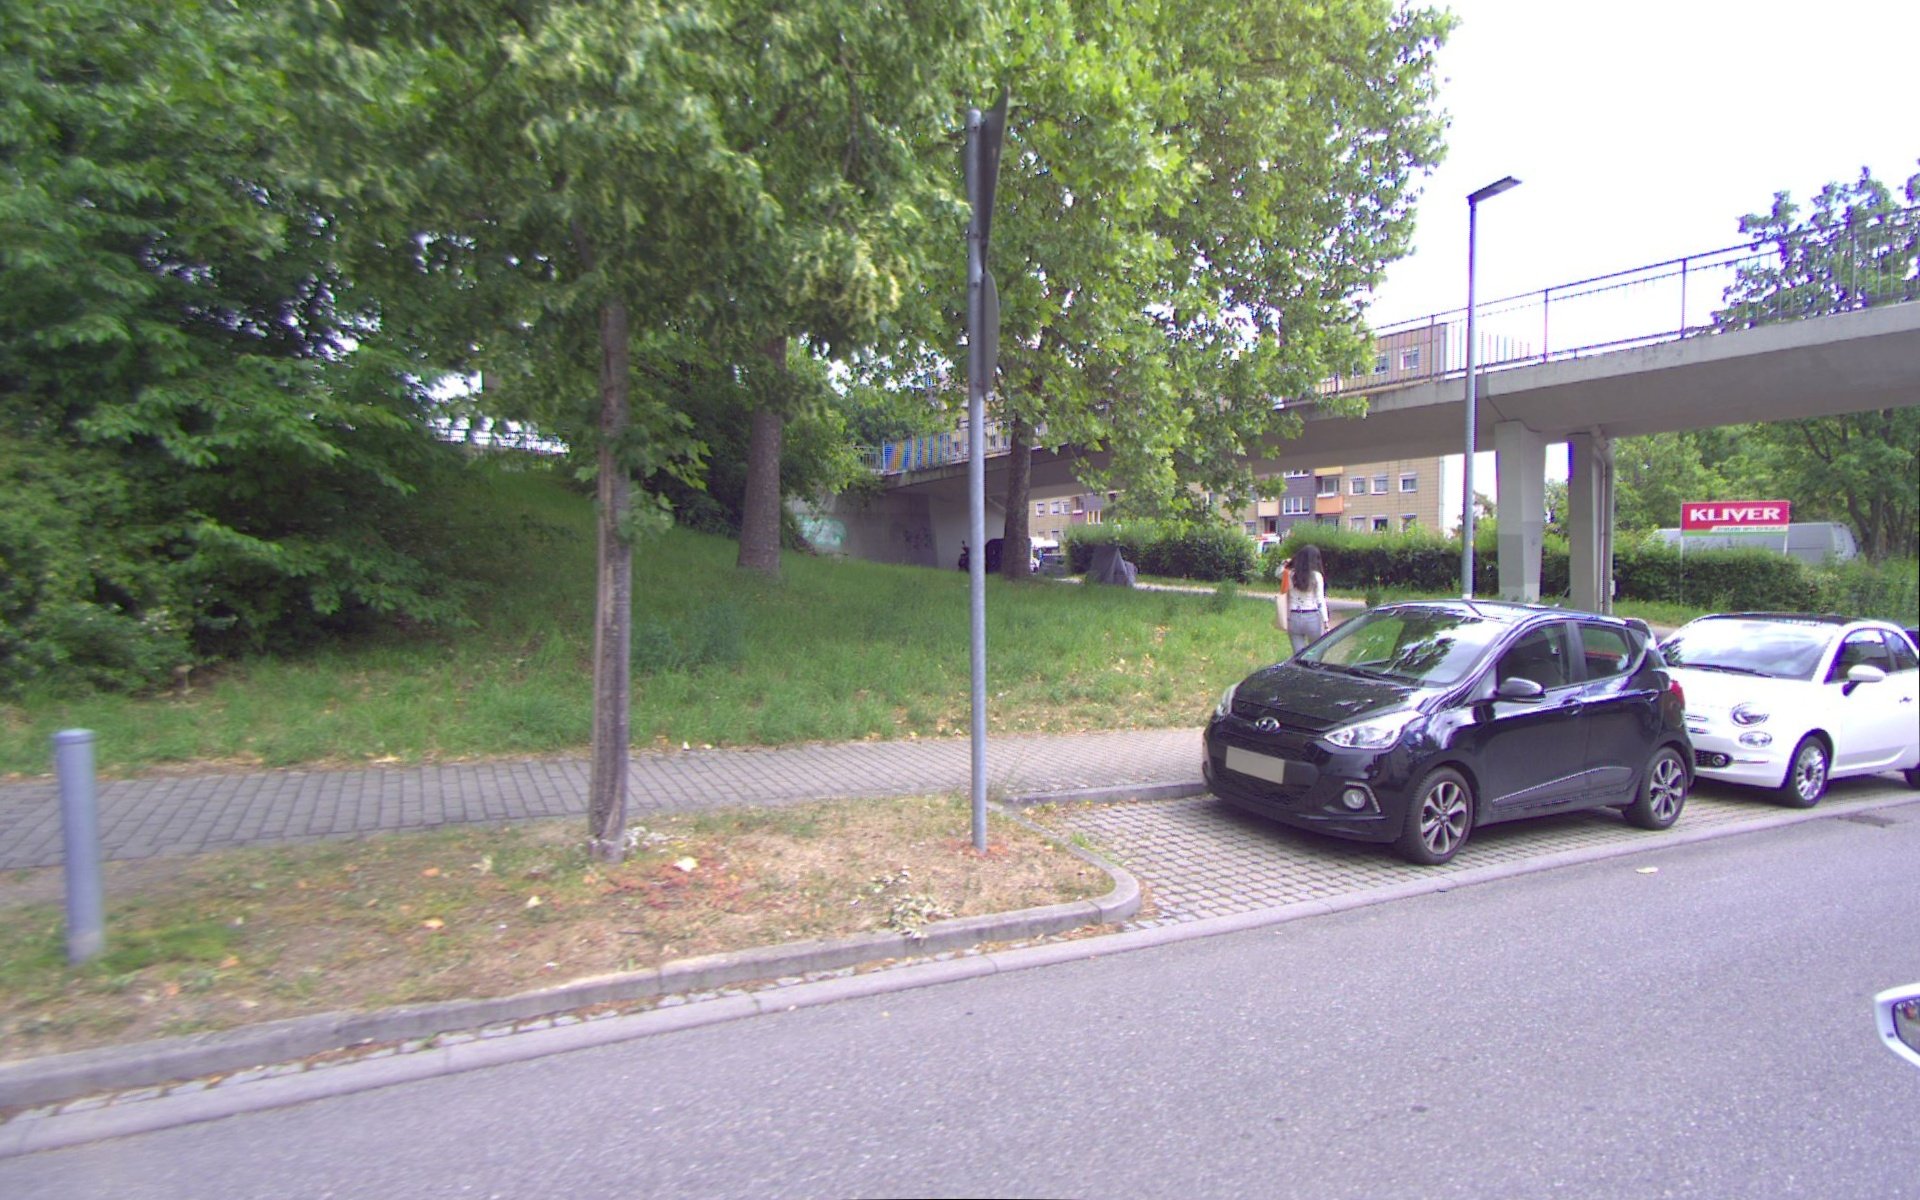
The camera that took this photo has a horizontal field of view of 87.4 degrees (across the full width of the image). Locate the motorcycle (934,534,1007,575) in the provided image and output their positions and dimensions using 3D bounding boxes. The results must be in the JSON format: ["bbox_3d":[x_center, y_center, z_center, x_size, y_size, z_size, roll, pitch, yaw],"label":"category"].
[{"bbox_3d":[0.359,-1.492,33.096,2.292,1.287,0.878,-1,3,-34],"label":"motorcycle"}]

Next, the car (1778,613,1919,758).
[{"bbox_3d":[11.546,0.955,11.594,3.951,1.446,1.876,2,1,-29],"label":"car"}]

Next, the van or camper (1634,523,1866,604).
[{"bbox_3d":[22.542,-1.054,28.886,1.979,2.114,4.824,-1,2,-33],"label":"van or camper"}]

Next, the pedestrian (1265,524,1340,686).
[{"bbox_3d":[3.830,0.040,11.220,0.725,1.745,0.659,2,2,22],"label":"pedestrian"}]

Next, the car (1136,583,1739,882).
[{"bbox_3d":[3.391,0.727,7.054,3.951,1.488,1.778,1,4,-29],"label":"car"}]

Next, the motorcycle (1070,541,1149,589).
[{"bbox_3d":[4.172,-0.983,28.078,2.010,1.287,0.884,0,2,-11],"label":"motorcycle"}]

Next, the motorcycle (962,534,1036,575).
[{"bbox_3d":[1.275,-1.457,32.411,2.292,1.287,0.878,-1,3,-34],"label":"motorcycle"}]

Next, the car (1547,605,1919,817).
[{"bbox_3d":[7.366,0.872,9.164,3.502,1.480,1.876,1,3,-29],"label":"car"}]
